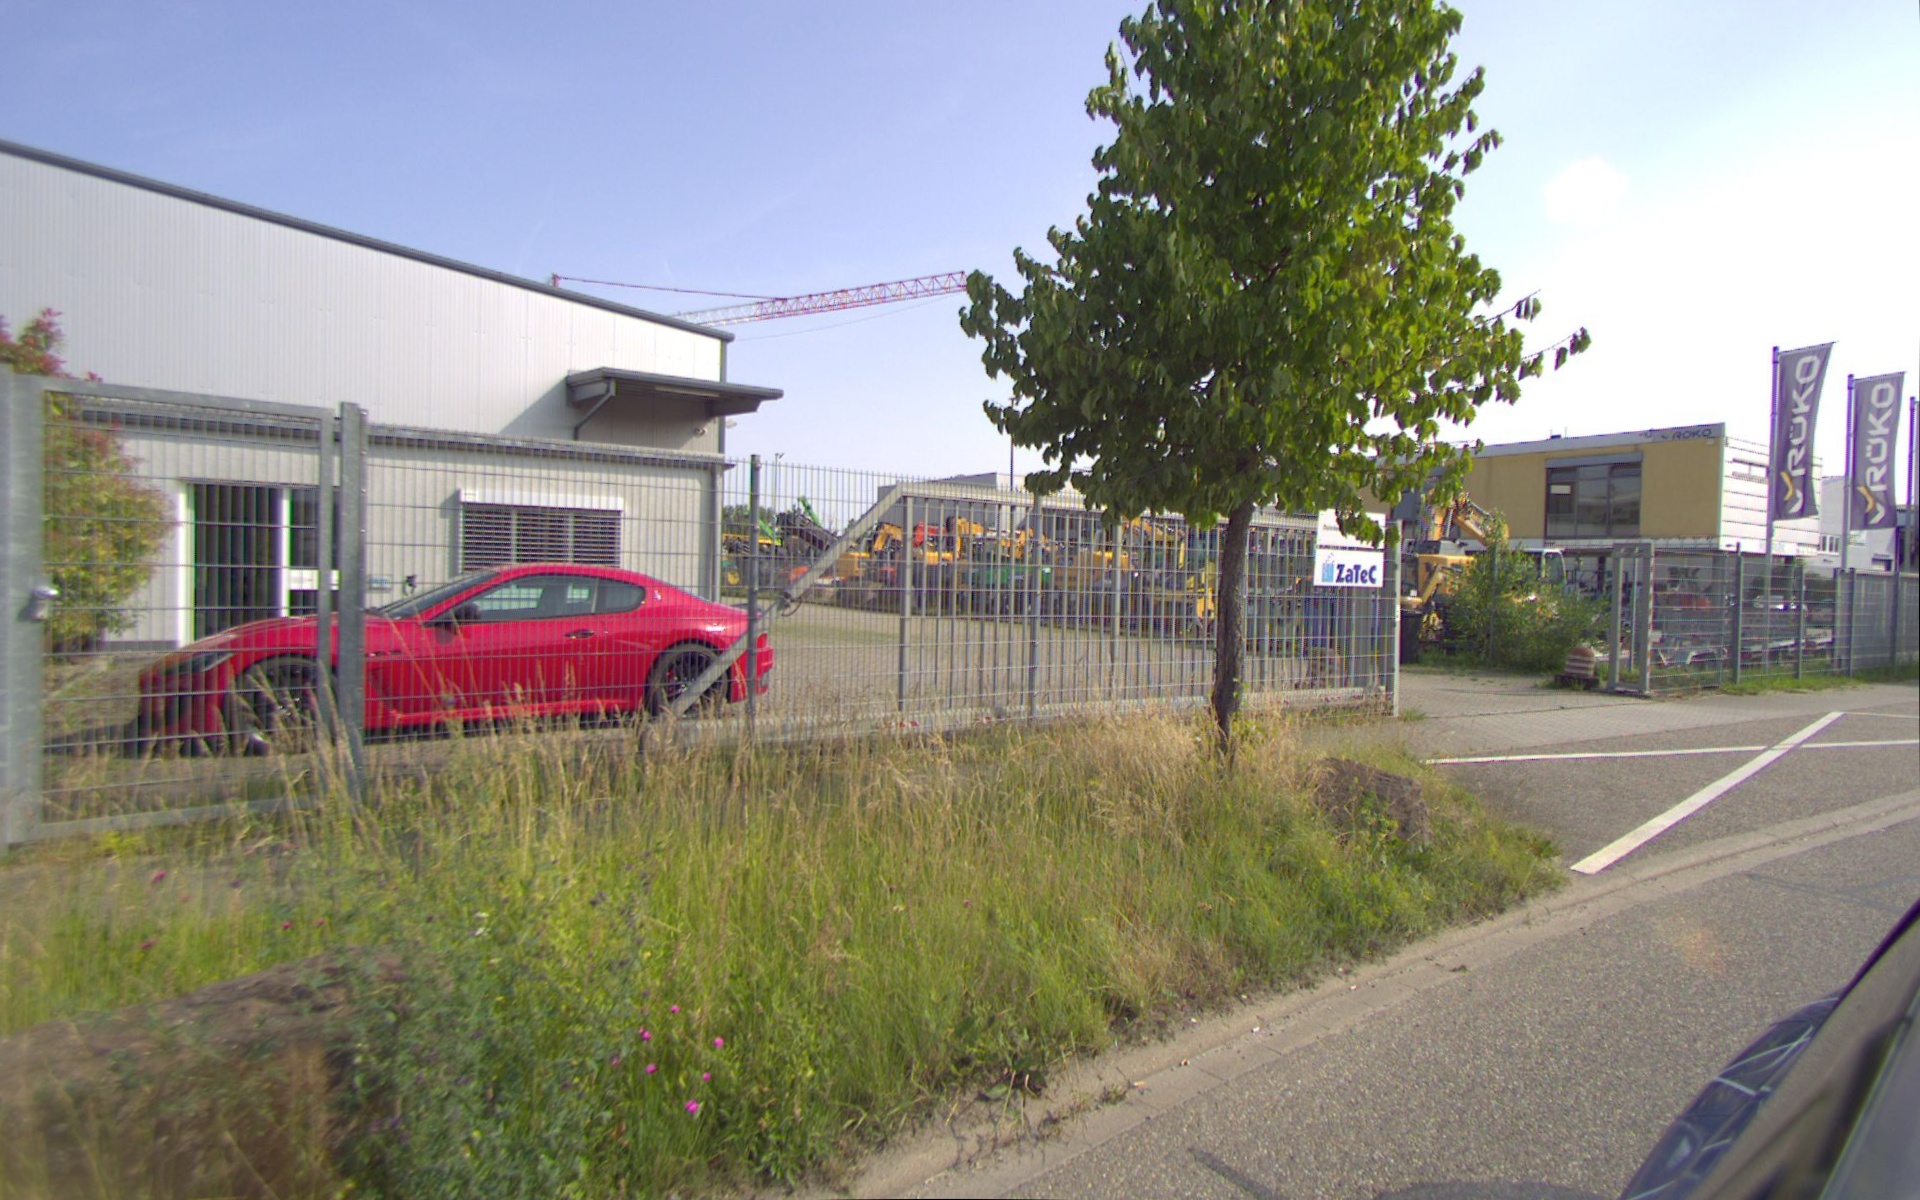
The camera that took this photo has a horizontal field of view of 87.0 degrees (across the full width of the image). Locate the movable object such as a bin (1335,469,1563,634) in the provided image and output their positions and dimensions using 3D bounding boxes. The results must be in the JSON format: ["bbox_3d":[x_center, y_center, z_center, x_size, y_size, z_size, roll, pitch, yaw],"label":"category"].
[{"bbox_3d":[16.243,-1.441,33.461,7.524,4.866,3.329,1,1,-34],"label":"movable object such as a bin"}]

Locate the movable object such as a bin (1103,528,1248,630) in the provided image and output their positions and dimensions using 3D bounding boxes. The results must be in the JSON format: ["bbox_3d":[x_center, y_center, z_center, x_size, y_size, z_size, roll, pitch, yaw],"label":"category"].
[{"bbox_3d":[6.928,-0.647,32.455,4.287,3.069,2.001,1,1,-32],"label":"movable object such as a bin"}]

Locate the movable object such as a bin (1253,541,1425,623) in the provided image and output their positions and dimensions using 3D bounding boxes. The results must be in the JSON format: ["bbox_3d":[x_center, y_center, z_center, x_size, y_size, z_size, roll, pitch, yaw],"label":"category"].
[{"bbox_3d":[13.868,-0.636,36.901,6.226,2.749,2.711,1,2,-34],"label":"movable object such as a bin"}]

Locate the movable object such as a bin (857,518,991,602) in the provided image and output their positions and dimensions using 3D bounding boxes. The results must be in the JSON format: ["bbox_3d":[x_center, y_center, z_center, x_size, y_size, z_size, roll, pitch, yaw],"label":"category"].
[{"bbox_3d":[-1.685,-1.870,48.653,6.027,3.827,2.459,0,2,-36],"label":"movable object such as a bin"}]

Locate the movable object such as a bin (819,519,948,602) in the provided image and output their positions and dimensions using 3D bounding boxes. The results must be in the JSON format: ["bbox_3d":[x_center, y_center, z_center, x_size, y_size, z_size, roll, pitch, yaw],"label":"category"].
[{"bbox_3d":[-3.834,-1.957,51.247,6.027,3.977,2.459,0,2,-36],"label":"movable object such as a bin"}]

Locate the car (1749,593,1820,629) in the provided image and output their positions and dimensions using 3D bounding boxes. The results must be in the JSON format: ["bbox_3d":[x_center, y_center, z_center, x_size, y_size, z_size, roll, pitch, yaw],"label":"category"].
[{"bbox_3d":[42.448,0.561,52.085,4.290,1.712,1.895,1,1,-37],"label":"car"}]

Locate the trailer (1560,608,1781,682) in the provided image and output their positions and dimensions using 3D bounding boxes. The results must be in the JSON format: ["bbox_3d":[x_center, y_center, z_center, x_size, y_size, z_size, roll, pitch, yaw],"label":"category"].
[{"bbox_3d":[14.632,0.847,20.778,4.703,1.259,2.134,1,2,-34],"label":"trailer"}]

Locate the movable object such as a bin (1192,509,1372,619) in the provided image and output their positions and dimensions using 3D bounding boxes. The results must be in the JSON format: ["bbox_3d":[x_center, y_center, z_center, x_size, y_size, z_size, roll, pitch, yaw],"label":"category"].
[{"bbox_3d":[12.828,-1.360,40.085,7.068,3.978,2.929,1,2,-34],"label":"movable object such as a bin"}]

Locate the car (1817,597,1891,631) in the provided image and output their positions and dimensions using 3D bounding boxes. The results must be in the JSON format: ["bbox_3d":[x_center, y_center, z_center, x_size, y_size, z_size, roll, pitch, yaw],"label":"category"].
[{"bbox_3d":[43.601,0.673,49.326,4.290,1.576,1.895,1,1,-37],"label":"car"}]

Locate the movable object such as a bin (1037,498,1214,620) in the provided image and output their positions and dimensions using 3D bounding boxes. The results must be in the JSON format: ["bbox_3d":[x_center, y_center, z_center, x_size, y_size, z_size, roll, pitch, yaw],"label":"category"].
[{"bbox_3d":[5.758,-1.352,35.058,5.605,3.921,2.695,1,1,-32],"label":"movable object such as a bin"}]

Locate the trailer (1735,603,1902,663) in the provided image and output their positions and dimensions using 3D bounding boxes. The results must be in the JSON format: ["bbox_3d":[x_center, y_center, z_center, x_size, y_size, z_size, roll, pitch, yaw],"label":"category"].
[{"bbox_3d":[22.321,0.798,26.289,4.473,1.327,2.002,-1,2,-31],"label":"trailer"}]

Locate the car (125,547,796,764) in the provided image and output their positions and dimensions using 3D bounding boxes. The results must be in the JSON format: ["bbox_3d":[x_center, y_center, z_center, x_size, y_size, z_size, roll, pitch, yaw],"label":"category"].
[{"bbox_3d":[-3.943,0.336,8.574,4.683,1.374,1.887,1,2,-36],"label":"car"}]

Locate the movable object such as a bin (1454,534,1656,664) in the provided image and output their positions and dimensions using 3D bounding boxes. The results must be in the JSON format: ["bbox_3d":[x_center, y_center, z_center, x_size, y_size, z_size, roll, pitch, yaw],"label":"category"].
[{"bbox_3d":[14.034,-0.030,23.790,5.058,2.786,1.895,1,1,-32],"label":"movable object such as a bin"}]

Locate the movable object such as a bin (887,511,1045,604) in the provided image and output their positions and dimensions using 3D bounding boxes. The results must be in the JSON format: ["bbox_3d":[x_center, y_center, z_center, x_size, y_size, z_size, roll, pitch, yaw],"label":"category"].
[{"bbox_3d":[0.356,-1.889,46.282,7.067,3.977,2.474,0,2,-36],"label":"movable object such as a bin"}]

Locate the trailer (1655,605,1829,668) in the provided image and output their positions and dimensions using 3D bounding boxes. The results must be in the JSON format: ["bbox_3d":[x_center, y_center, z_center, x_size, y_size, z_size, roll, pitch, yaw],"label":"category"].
[{"bbox_3d":[18.336,0.807,23.693,4.211,1.259,1.952,1,2,-34],"label":"trailer"}]

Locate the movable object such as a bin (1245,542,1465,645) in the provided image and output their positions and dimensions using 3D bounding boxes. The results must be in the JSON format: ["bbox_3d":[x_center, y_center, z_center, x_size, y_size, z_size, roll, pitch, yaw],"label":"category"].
[{"bbox_3d":[10.708,-0.196,27.407,5.233,2.522,2.935,1,2,-32],"label":"movable object such as a bin"}]

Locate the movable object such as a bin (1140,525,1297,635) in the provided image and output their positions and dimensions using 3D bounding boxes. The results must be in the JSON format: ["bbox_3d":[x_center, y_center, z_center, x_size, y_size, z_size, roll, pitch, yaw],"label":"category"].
[{"bbox_3d":[7.739,-0.587,30.205,4.403,3.069,2.001,1,1,-32],"label":"movable object such as a bin"}]

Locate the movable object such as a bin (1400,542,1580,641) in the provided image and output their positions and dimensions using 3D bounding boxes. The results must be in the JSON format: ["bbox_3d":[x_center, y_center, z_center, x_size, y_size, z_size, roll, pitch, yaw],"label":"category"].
[{"bbox_3d":[14.345,-0.223,27.359,4.667,2.489,2.002,1,1,-29],"label":"movable object such as a bin"}]
